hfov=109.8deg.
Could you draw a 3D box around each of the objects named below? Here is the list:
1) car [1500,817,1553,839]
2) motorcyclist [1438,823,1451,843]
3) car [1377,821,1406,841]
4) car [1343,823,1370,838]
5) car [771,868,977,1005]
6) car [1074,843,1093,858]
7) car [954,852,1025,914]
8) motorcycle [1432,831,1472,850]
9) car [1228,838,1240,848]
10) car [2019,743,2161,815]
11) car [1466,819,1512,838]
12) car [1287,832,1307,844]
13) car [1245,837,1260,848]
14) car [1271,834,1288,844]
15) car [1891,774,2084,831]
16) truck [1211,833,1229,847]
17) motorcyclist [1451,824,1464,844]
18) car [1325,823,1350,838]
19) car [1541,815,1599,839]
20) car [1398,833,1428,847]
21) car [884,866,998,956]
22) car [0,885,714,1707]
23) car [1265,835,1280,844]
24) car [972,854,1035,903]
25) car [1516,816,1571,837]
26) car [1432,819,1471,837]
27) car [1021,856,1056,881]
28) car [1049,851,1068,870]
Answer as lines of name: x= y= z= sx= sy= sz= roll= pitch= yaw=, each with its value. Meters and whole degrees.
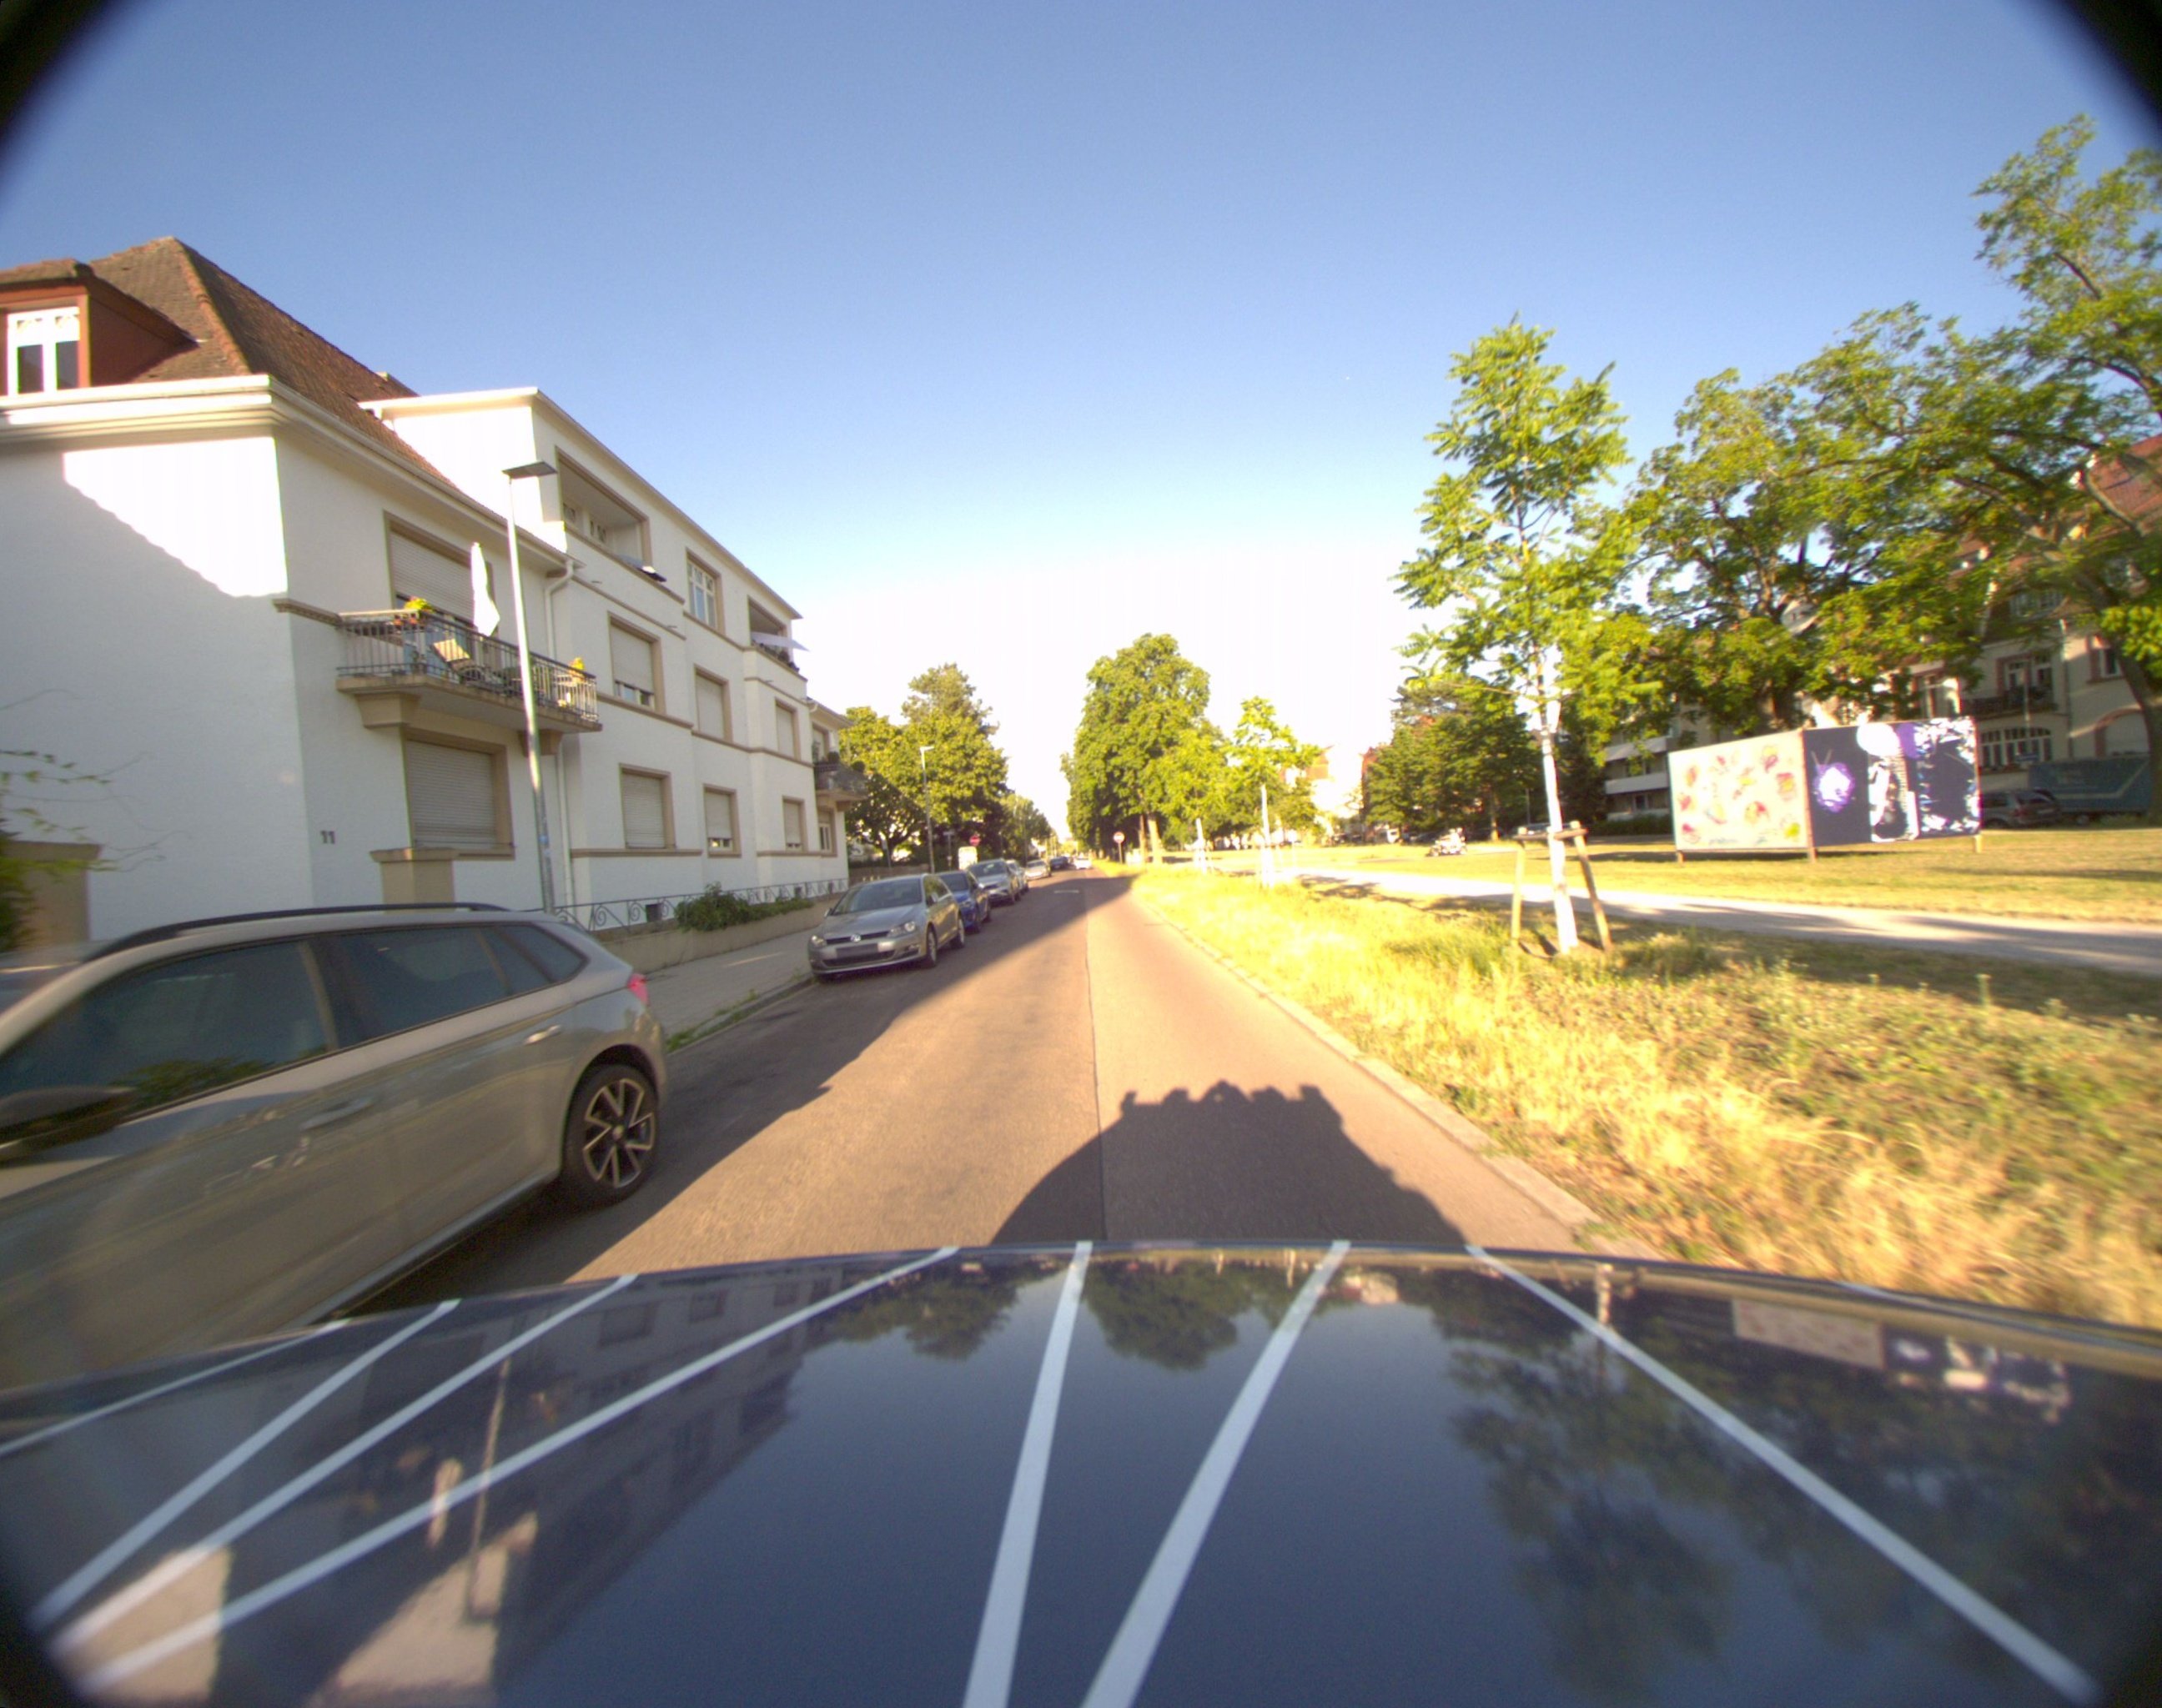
car: x=33.776 y=-1.954 z=57.714 sx=1.692 sy=1.399 sz=3.642 roll=-4 pitch=0 yaw=-4
motorcyclist: x=21.871 y=-1.252 z=45.741 sx=0.574 sy=1.143 sz=0.751 roll=-4 pitch=1 yaw=23
car: x=40.083 y=-2.935 z=98.139 sx=1.998 sy=2.001 sz=4.002 roll=-12 pitch=-2 yaw=3
car: x=34.037 y=-2.927 z=94.030 sx=1.998 sy=1.834 sz=3.999 roll=-1 pitch=2 yaw=1
car: x=-3.137 y=1.164 z=12.633 sx=1.916 sy=1.550 sz=4.566 roll=-8 pitch=0 yaw=1
car: x=0.313 y=-0.440 z=85.705 sx=1.998 sy=1.483 sz=3.999 roll=-4 pitch=1 yaw=1
car: x=-3.118 y=0.924 z=26.806 sx=1.806 sy=1.639 sz=4.582 roll=-9 pitch=2 yaw=-1
motorcycle: x=22.313 y=-0.815 z=45.690 sx=2.106 sy=0.951 sz=0.567 roll=-4 pitch=1 yaw=25
car: x=34.607 y=-2.488 z=172.412 sx=1.998 sy=2.002 sz=4.001 roll=-4 pitch=0 yaw=3
car: x=39.689 y=-2.861 z=29.335 sx=1.998 sy=2.527 sz=3.998 roll=-4 pitch=2 yaw=0
car: x=33.835 y=-2.115 z=63.144 sx=1.560 sy=1.361 sz=3.642 roll=-4 pitch=0 yaw=-4
car: x=34.402 y=-2.564 z=121.318 sx=1.998 sy=1.692 sz=4.000 roll=-4 pitch=0 yaw=1
car: x=34.335 y=-2.337 z=152.214 sx=2.126 sy=2.002 sz=3.998 roll=-1 pitch=2 yaw=-1
car: x=39.377 y=-3.035 z=150.820 sx=1.999 sy=1.872 sz=3.998 roll=-1 pitch=2 yaw=-3
car: x=33.978 y=-1.873 z=28.718 sx=1.999 sy=1.718 sz=4.344 roll=-4 pitch=0 yaw=-1
truck: x=34.313 y=-3.351 z=188.059 sx=2.785 sy=3.128 sz=7.709 roll=-4 pitch=0 yaw=-1
motorcyclist: x=22.576 y=-1.191 z=45.544 sx=0.574 sy=1.143 sz=0.751 roll=-4 pitch=1 yaw=23
car: x=33.993 y=-3.106 z=100.802 sx=1.998 sy=1.834 sz=3.999 roll=-1 pitch=2 yaw=1
car: x=34.185 y=-1.858 z=53.217 sx=1.894 sy=1.513 sz=3.681 roll=-3 pitch=0 yaw=6
car: x=40.253 y=-1.707 z=92.160 sx=1.998 sy=1.596 sz=4.000 roll=-1 pitch=2 yaw=3
car: x=-3.140 y=1.215 z=17.926 sx=1.767 sy=1.427 sz=4.302 roll=-10 pitch=1 yaw=-1
car: x=-3.266 y=1.127 z=2.240 sx=1.888 sy=1.528 sz=4.461 roll=-7 pitch=2 yaw=2
car: x=40.015 y=-3.022 z=158.760 sx=1.999 sy=1.835 sz=3.998 roll=-1 pitch=2 yaw=-3
car: x=-3.220 y=0.979 z=32.648 sx=1.880 sy=1.525 sz=4.589 roll=-10 pitch=1 yaw=2
car: x=39.831 y=-2.315 z=65.534 sx=1.999 sy=1.490 sz=3.999 roll=-4 pitch=0 yaw=-4
car: x=34.003 y=-2.406 z=69.844 sx=1.560 sy=1.408 sz=3.642 roll=-4 pitch=0 yaw=-4
car: x=-3.087 y=1.026 z=55.911 sx=2.111 sy=1.396 sz=4.132 roll=-9 pitch=0 yaw=1
car: x=-2.681 y=0.778 z=93.040 sx=1.998 sy=2.179 sz=4.000 roll=-4 pitch=0 yaw=1
